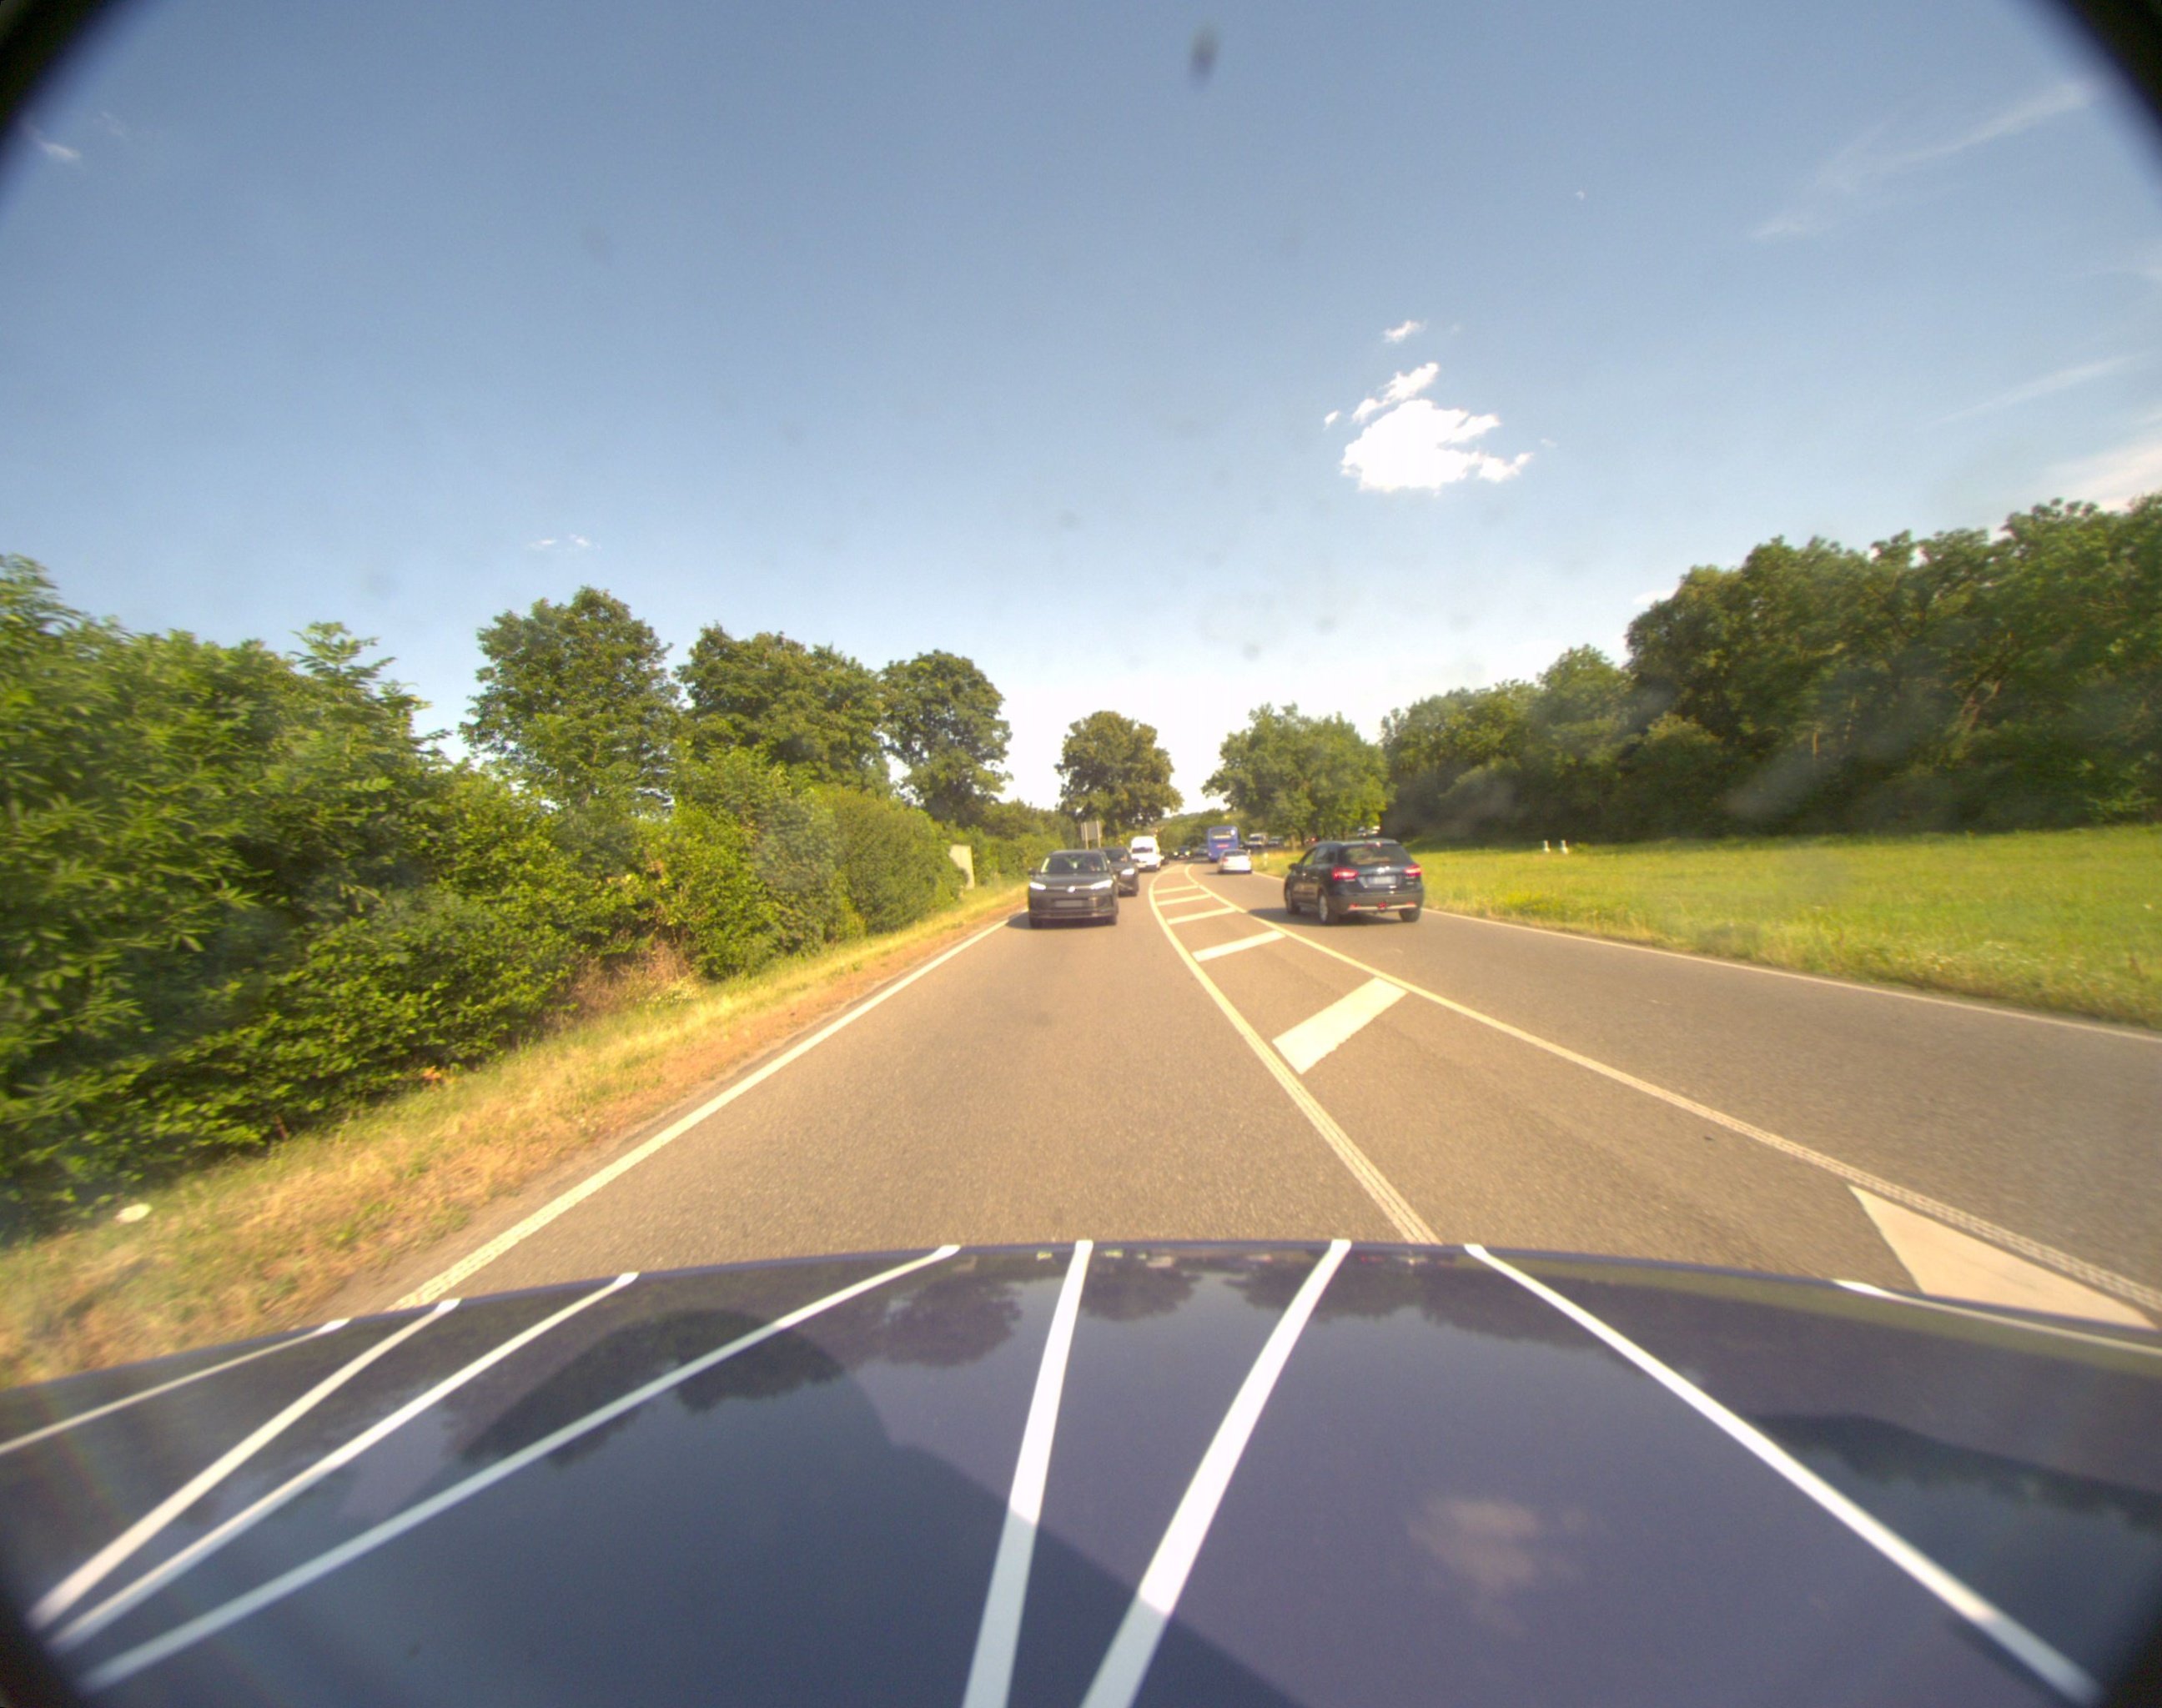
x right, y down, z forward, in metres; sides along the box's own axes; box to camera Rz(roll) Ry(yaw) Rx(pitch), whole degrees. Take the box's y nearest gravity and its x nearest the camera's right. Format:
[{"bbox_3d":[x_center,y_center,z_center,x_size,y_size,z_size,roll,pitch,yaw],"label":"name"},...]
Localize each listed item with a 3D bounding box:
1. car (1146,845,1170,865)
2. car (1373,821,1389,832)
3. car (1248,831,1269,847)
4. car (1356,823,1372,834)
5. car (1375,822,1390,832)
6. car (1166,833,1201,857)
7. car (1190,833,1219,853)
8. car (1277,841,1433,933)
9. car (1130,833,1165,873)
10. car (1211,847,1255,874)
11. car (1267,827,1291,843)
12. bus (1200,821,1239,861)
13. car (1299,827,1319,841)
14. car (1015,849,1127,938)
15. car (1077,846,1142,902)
[{"bbox_3d":[6.685,0.054,65.564,1.697,1.544,4.155,-1,1,11],"label":"car"},{"bbox_3d":[71.223,-6.499,180.359,2.084,2.403,5.151,-2,2,38],"label":"car"},{"bbox_3d":[28.834,-2.467,123.088,2.085,2.403,5.149,-3,2,27],"label":"car"},{"bbox_3d":[69.892,-6.294,187.541,2.084,2.403,5.151,-2,2,38],"label":"car"},{"bbox_3d":[79.426,-7.141,200.175,2.084,2.403,5.151,-2,2,38],"label":"car"},{"bbox_3d":[11.236,-1.004,82.683,2.085,2.403,5.149,-3,2,27],"label":"car"},{"bbox_3d":[15.847,-1.431,97.365,2.085,2.403,5.149,-3,2,27],"label":"car"},{"bbox_3d":[5.261,0.582,15.173,1.698,1.543,4.153,-1,0,2],"label":"car"},{"bbox_3d":[4.402,-0.139,50.764,2.088,2.403,5.142,-3,1,4],"label":"car"},{"bbox_3d":[8.463,0.330,42.684,1.703,1.326,4.750,-3,1,3],"label":"car"},{"bbox_3d":[34.146,-3.270,130.868,2.084,2.403,5.151,-2,2,38],"label":"car"},{"bbox_3d":[12.473,-1.254,69.118,2.799,3.163,12.130,-3,1,8],"label":"bus"},{"bbox_3d":[45.452,-4.030,151.470,2.084,2.403,5.151,-2,2,38],"label":"car"},{"bbox_3d":[-0.057,0.763,17.250,1.921,1.612,4.703,-3,1,6],"label":"car"},{"bbox_3d":[1.103,0.622,27.088,1.921,1.719,4.703,-3,1,6],"label":"car"}]
